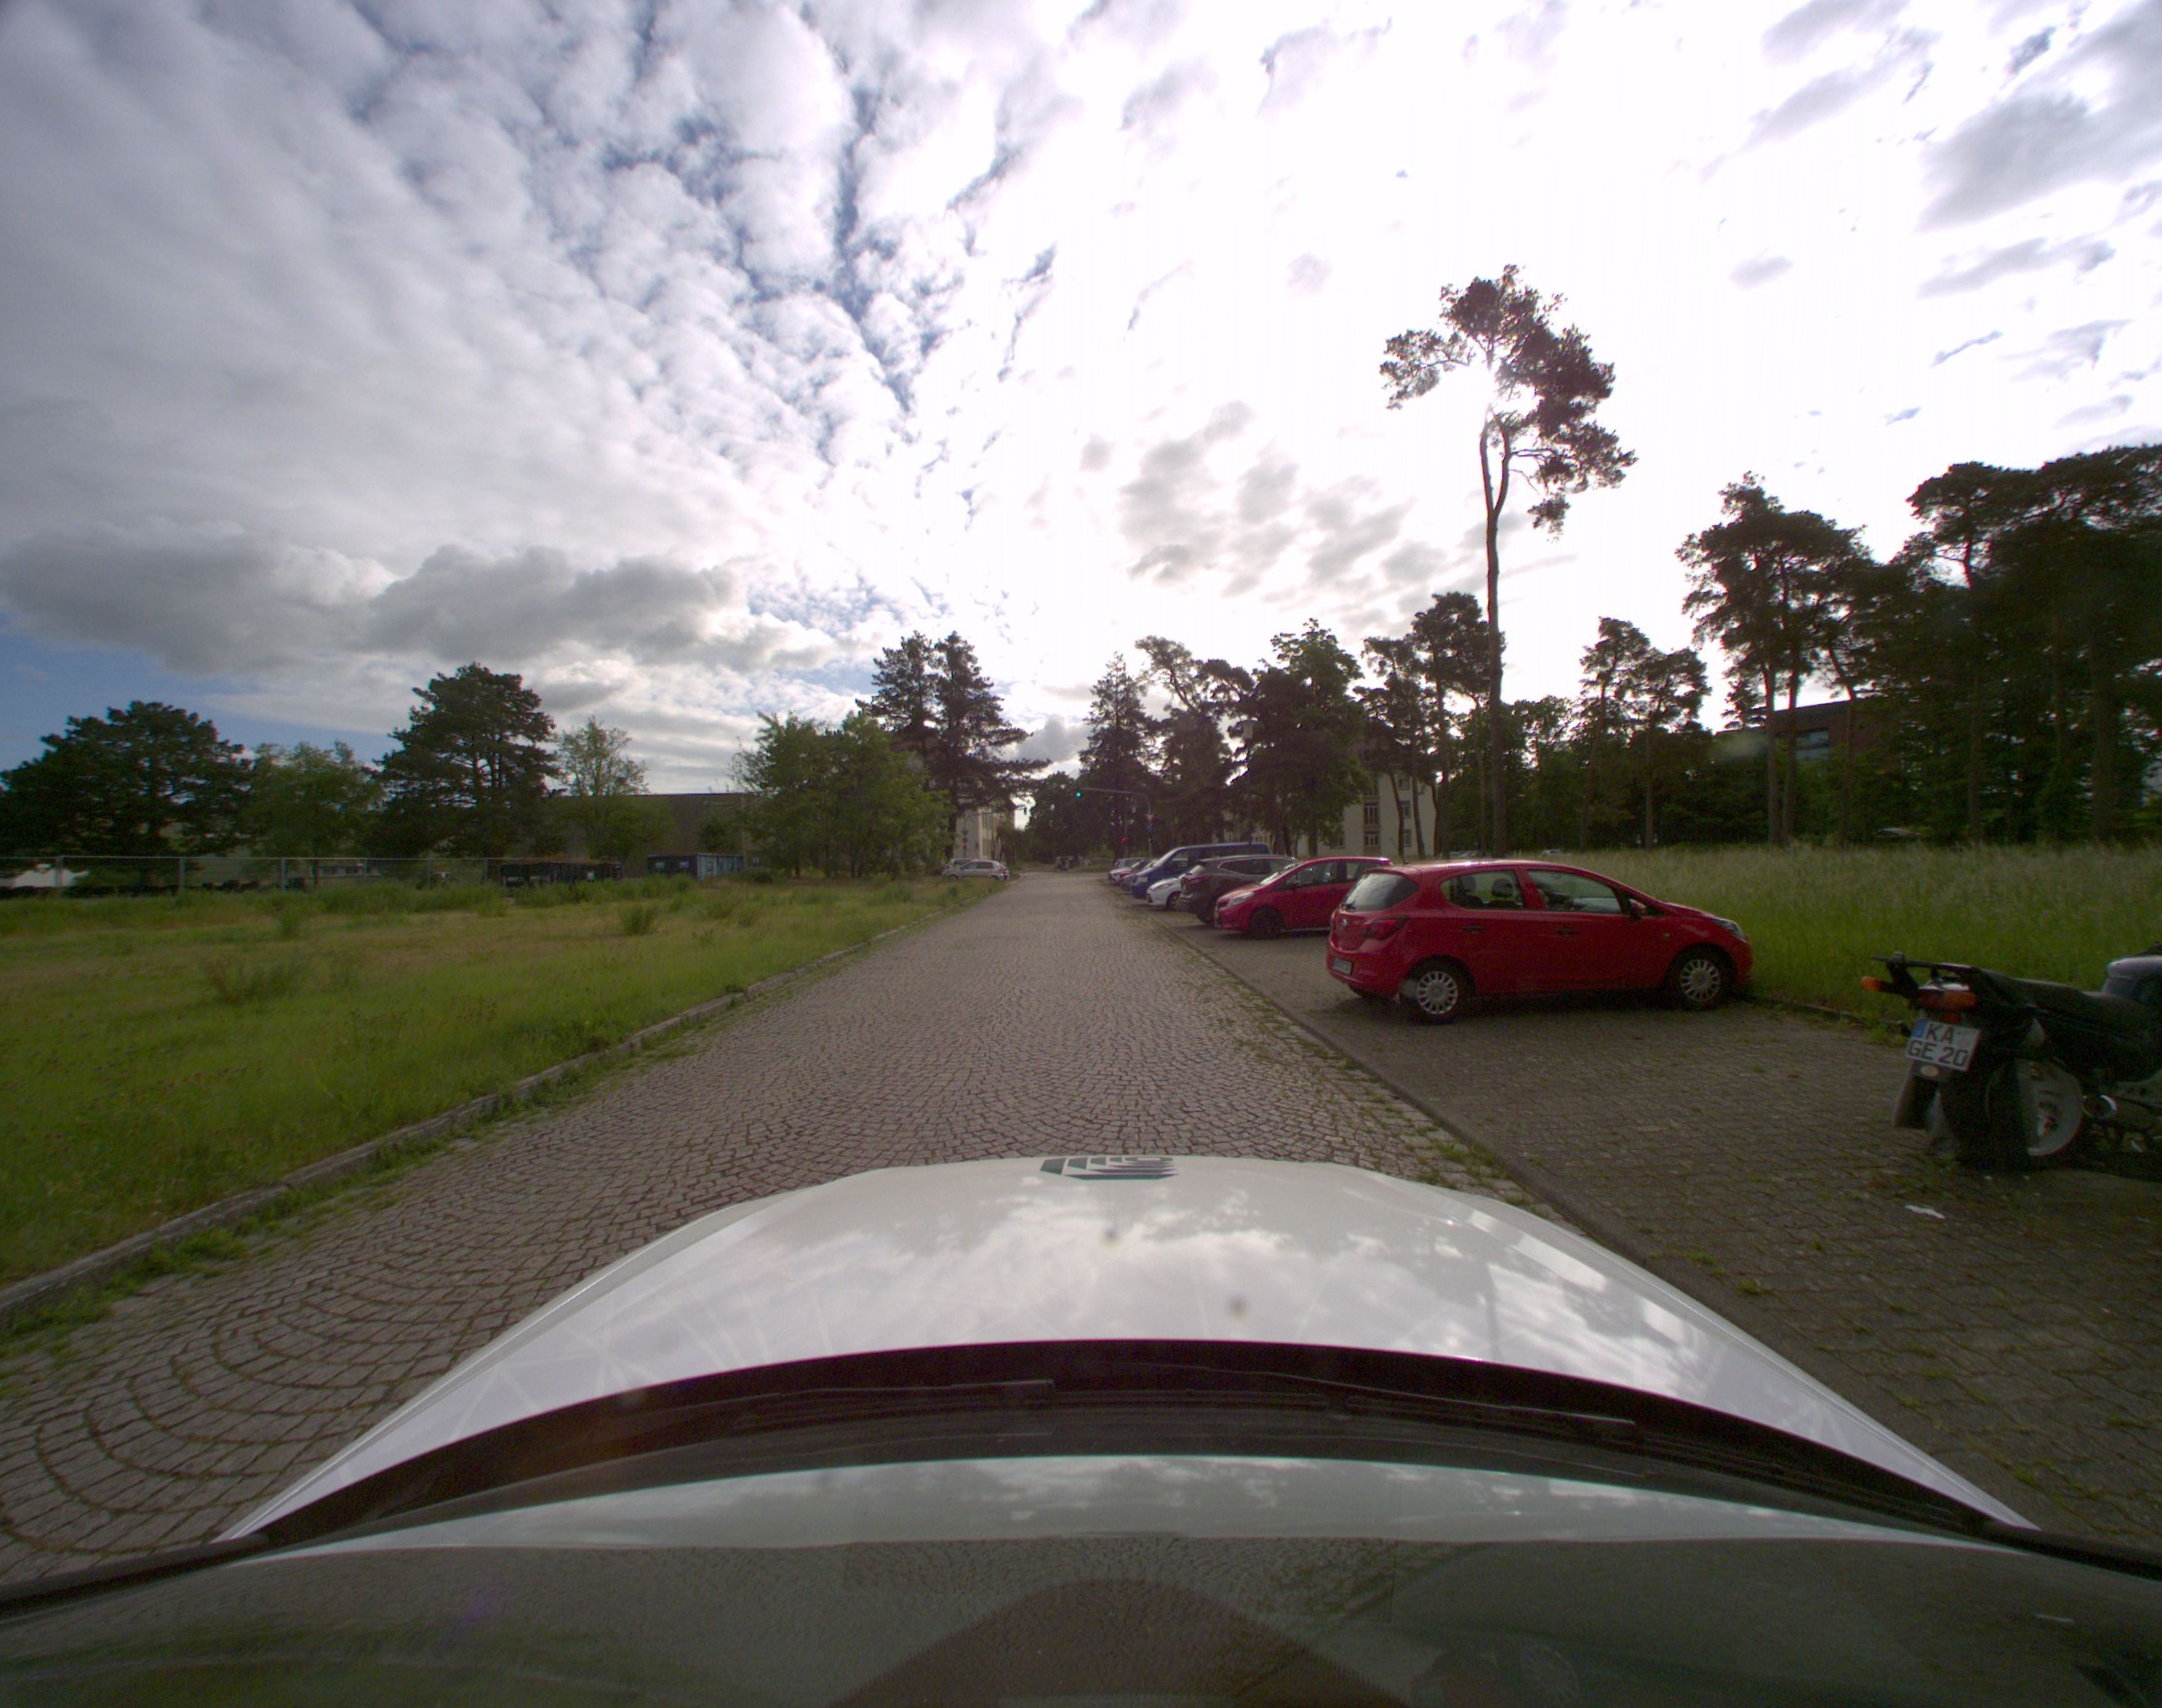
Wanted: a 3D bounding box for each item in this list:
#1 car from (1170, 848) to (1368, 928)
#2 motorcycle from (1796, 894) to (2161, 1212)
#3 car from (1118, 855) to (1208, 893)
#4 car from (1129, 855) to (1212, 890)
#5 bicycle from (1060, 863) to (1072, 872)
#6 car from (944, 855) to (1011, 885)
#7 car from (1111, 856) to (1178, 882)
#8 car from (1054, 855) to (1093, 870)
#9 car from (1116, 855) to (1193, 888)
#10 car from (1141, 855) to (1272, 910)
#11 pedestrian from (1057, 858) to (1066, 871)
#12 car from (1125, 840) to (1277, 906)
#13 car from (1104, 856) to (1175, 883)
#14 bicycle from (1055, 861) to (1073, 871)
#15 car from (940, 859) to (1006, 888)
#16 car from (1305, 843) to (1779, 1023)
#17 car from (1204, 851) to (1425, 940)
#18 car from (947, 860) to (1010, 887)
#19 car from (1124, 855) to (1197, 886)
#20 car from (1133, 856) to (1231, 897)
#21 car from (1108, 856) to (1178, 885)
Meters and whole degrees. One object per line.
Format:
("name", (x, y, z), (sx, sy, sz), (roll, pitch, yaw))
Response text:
("car", (4.197, 0.736, 18.544), (4.020, 1.552, 1.748), (-2, -1, -4))
("motorcycle", (4.818, 0.830, 3.812), (2.322, 1.186, 0.794), (-2, -1, -4))
("car", (3.555, 0.871, 35.550), (3.664, 1.449, 1.522), (-2, -1, -3))
("car", (4.201, 0.863, 38.557), (3.664, 1.449, 1.522), (-2, -1, -3))
("bicycle", (-1.768, 1.585, 95.977), (0.623, 0.945, 1.647), (0, -1, -29))
("car", (-6.986, 1.095, 55.309), (4.251, 1.840, 1.742), (-2, -1, -2))
("car", (4.000, 0.922, 51.298), (3.962, 1.421, 1.616), (-2, -1, -6))
("car", (-1.090, 1.227, 117.978), (5.447, 2.014, 2.260), (0, -1, -11))
("car", (3.675, 0.870, 41.247), (3.664, 1.449, 1.522), (-2, -1, -3))
("car", (3.785, 0.854, 24.907), (3.665, 1.449, 1.612), (-2, -1, -4))
("pedestrian", (-2.362, 1.324, 99.700), (1.032, 1.614, 0.755), (0, -1, -8))
("car", (3.978, 0.615, 27.508), (4.744, 1.954, 1.929), (-2, -1, -4))
("car", (3.477, 0.933, 48.633), (3.962, 1.421, 1.616), (-2, -1, -6))
("bicycle", (-2.096, 1.515, 99.525), (2.134, 1.215, 0.621), (0, -1, -6))
("car", (-6.582, 1.173, 49.916), (3.815, 1.572, 1.562), (-2, -1, -5))
("car", (4.472, 0.719, 8.313), (3.816, 1.460, 1.778), (-2, -1, -2))
("car", (4.446, 0.772, 15.901), (3.781, 1.460, 1.750), (-2, -1, -2))
("car", (-6.581, 1.228, 52.332), (3.812, 1.572, 1.563), (-2, -1, -2))
("car", (4.222, 0.880, 43.547), (3.664, 1.449, 1.522), (-2, -1, -3))
("car", (4.027, 0.876, 32.784), (3.664, 1.449, 1.522), (-2, -1, -3))
("car", (3.442, 0.909, 45.777), (3.667, 1.421, 1.521), (-2, -1, -6))
